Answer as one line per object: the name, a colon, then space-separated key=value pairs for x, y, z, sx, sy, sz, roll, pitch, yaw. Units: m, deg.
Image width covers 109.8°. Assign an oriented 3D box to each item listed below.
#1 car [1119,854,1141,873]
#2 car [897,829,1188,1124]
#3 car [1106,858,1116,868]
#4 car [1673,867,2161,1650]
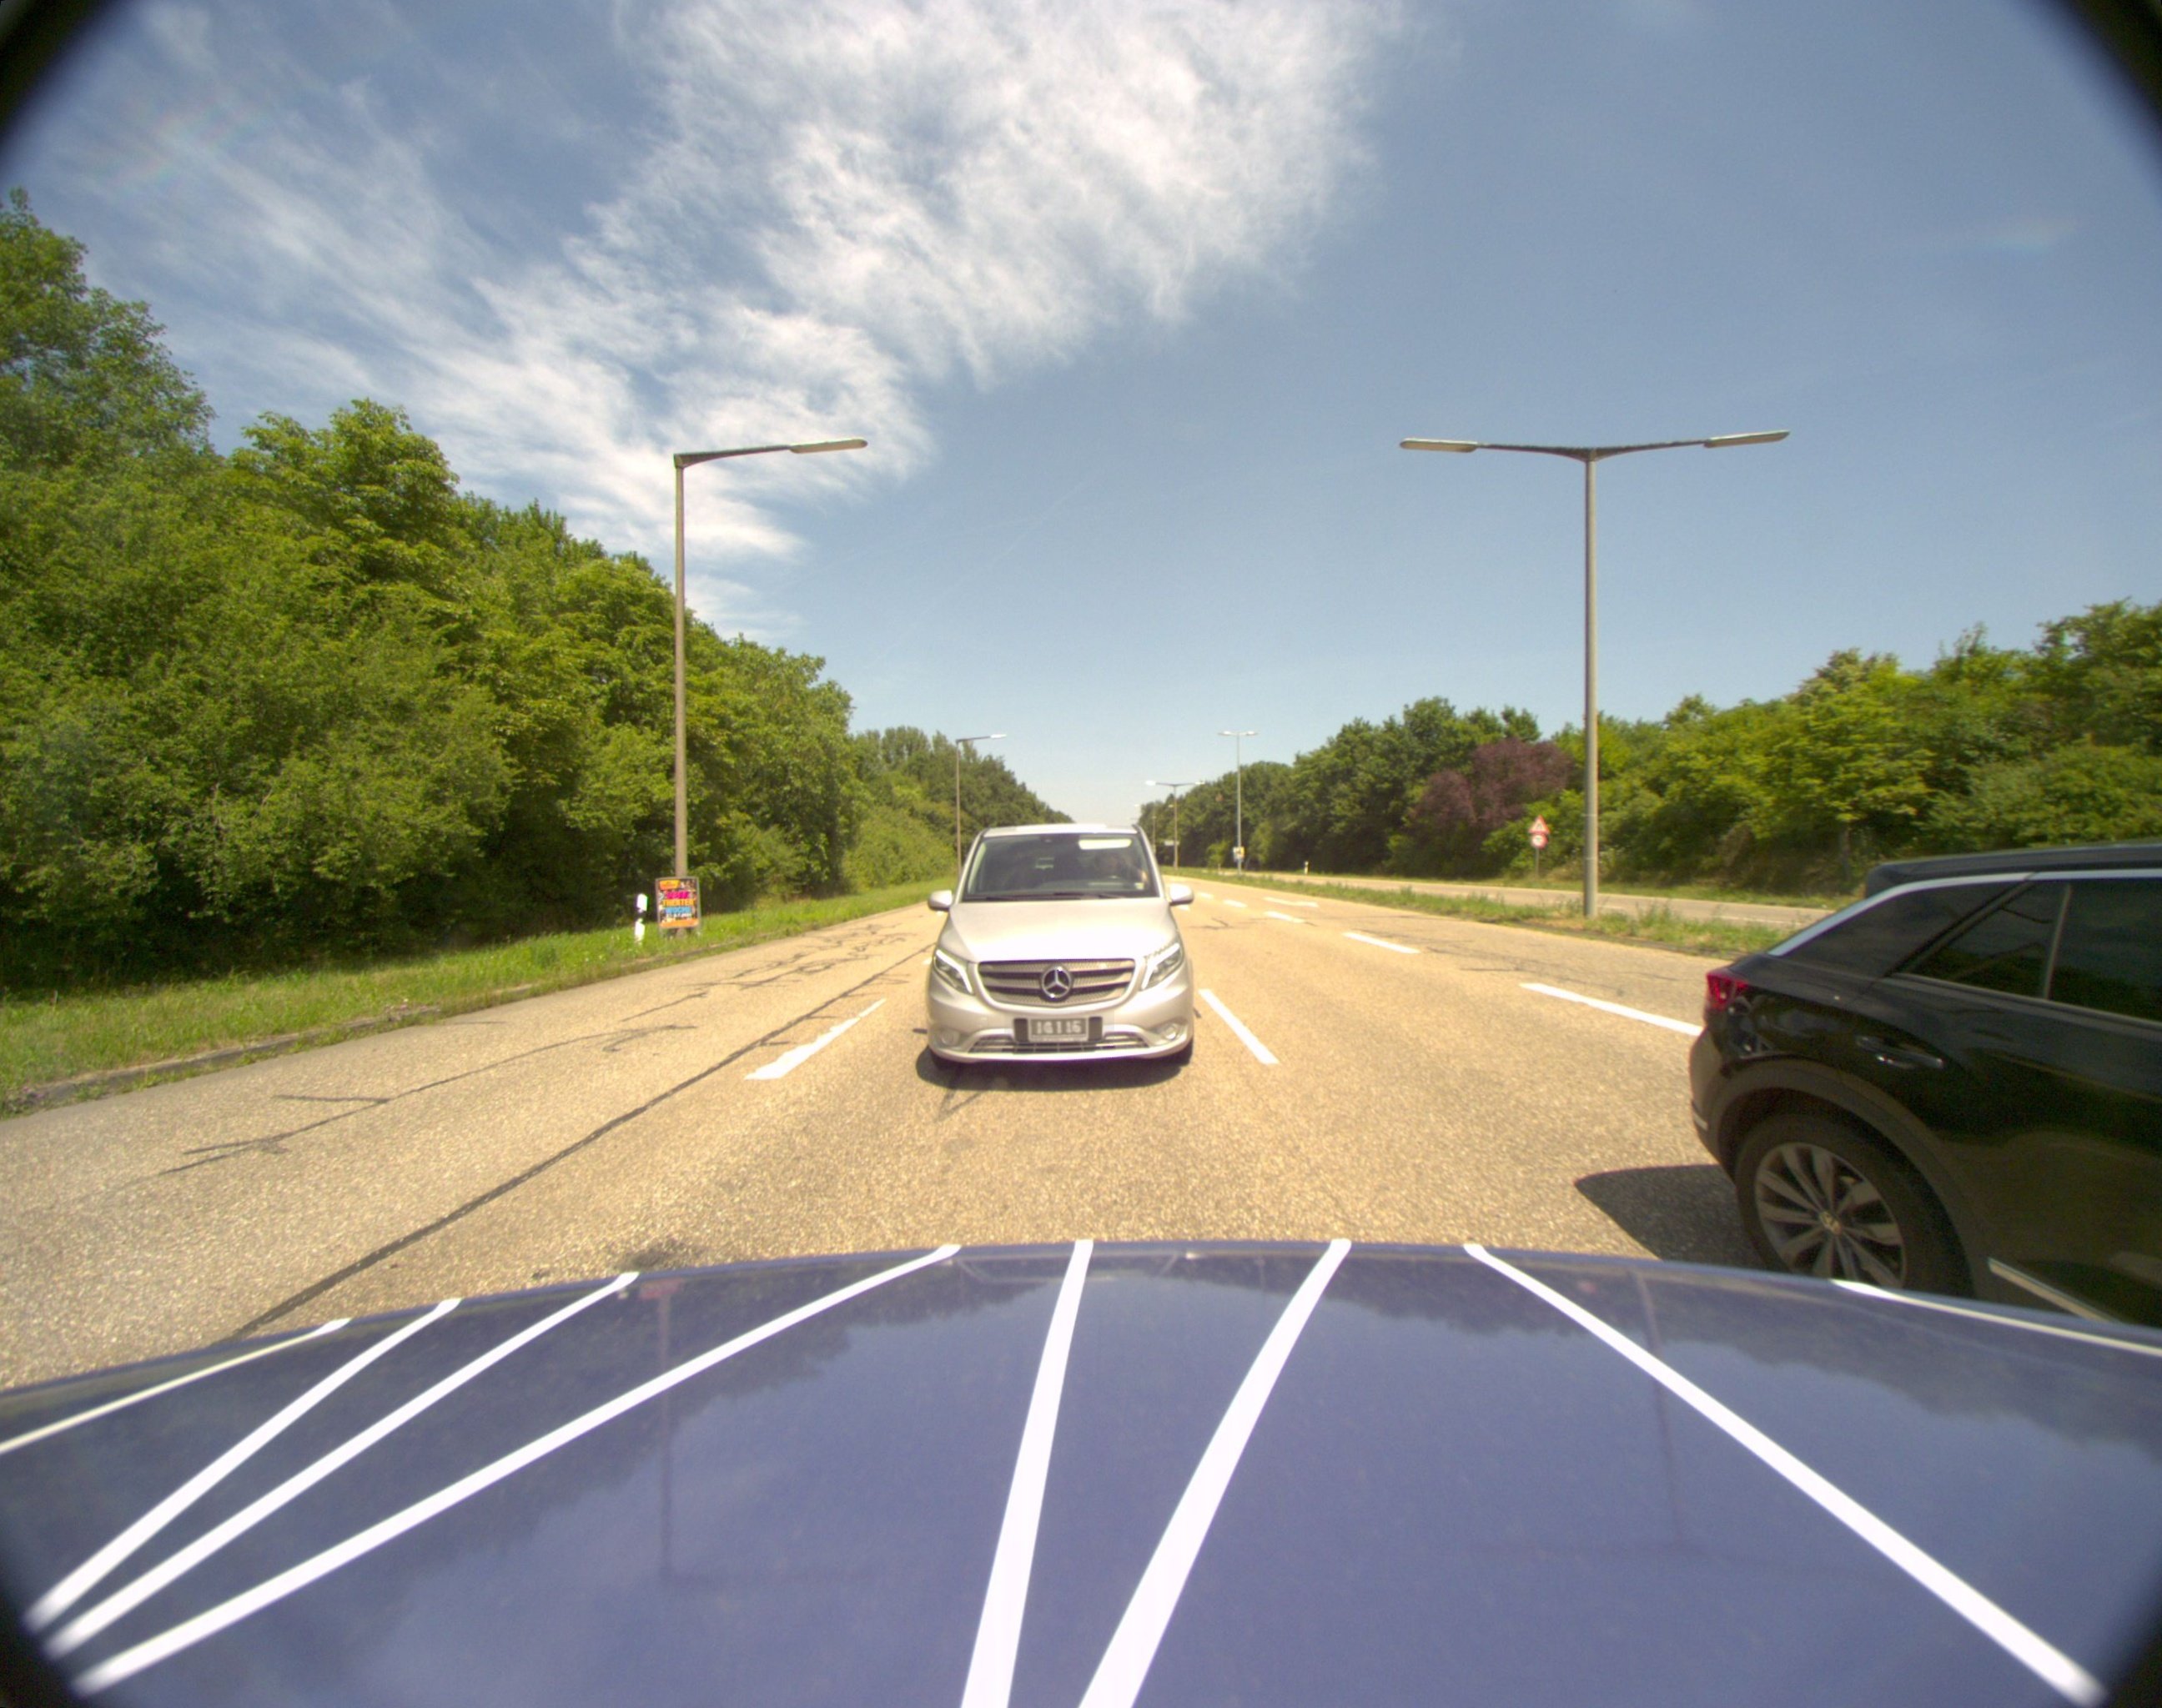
car: x=4.715 y=0.909 z=73.736 sx=1.736 sy=1.815 sz=4.321 roll=-1 pitch=0 yaw=-1
car: x=-0.206 y=0.770 z=7.196 sx=1.764 sy=1.794 sz=4.855 roll=-2 pitch=0 yaw=1
car: x=5.930 y=1.825 z=152.021 sx=1.736 sy=1.815 sz=4.321 roll=-1 pitch=0 yaw=-1
car: x=3.042 y=0.853 z=0.811 sx=1.739 sy=1.503 sz=3.970 roll=-2 pitch=1 yaw=1
